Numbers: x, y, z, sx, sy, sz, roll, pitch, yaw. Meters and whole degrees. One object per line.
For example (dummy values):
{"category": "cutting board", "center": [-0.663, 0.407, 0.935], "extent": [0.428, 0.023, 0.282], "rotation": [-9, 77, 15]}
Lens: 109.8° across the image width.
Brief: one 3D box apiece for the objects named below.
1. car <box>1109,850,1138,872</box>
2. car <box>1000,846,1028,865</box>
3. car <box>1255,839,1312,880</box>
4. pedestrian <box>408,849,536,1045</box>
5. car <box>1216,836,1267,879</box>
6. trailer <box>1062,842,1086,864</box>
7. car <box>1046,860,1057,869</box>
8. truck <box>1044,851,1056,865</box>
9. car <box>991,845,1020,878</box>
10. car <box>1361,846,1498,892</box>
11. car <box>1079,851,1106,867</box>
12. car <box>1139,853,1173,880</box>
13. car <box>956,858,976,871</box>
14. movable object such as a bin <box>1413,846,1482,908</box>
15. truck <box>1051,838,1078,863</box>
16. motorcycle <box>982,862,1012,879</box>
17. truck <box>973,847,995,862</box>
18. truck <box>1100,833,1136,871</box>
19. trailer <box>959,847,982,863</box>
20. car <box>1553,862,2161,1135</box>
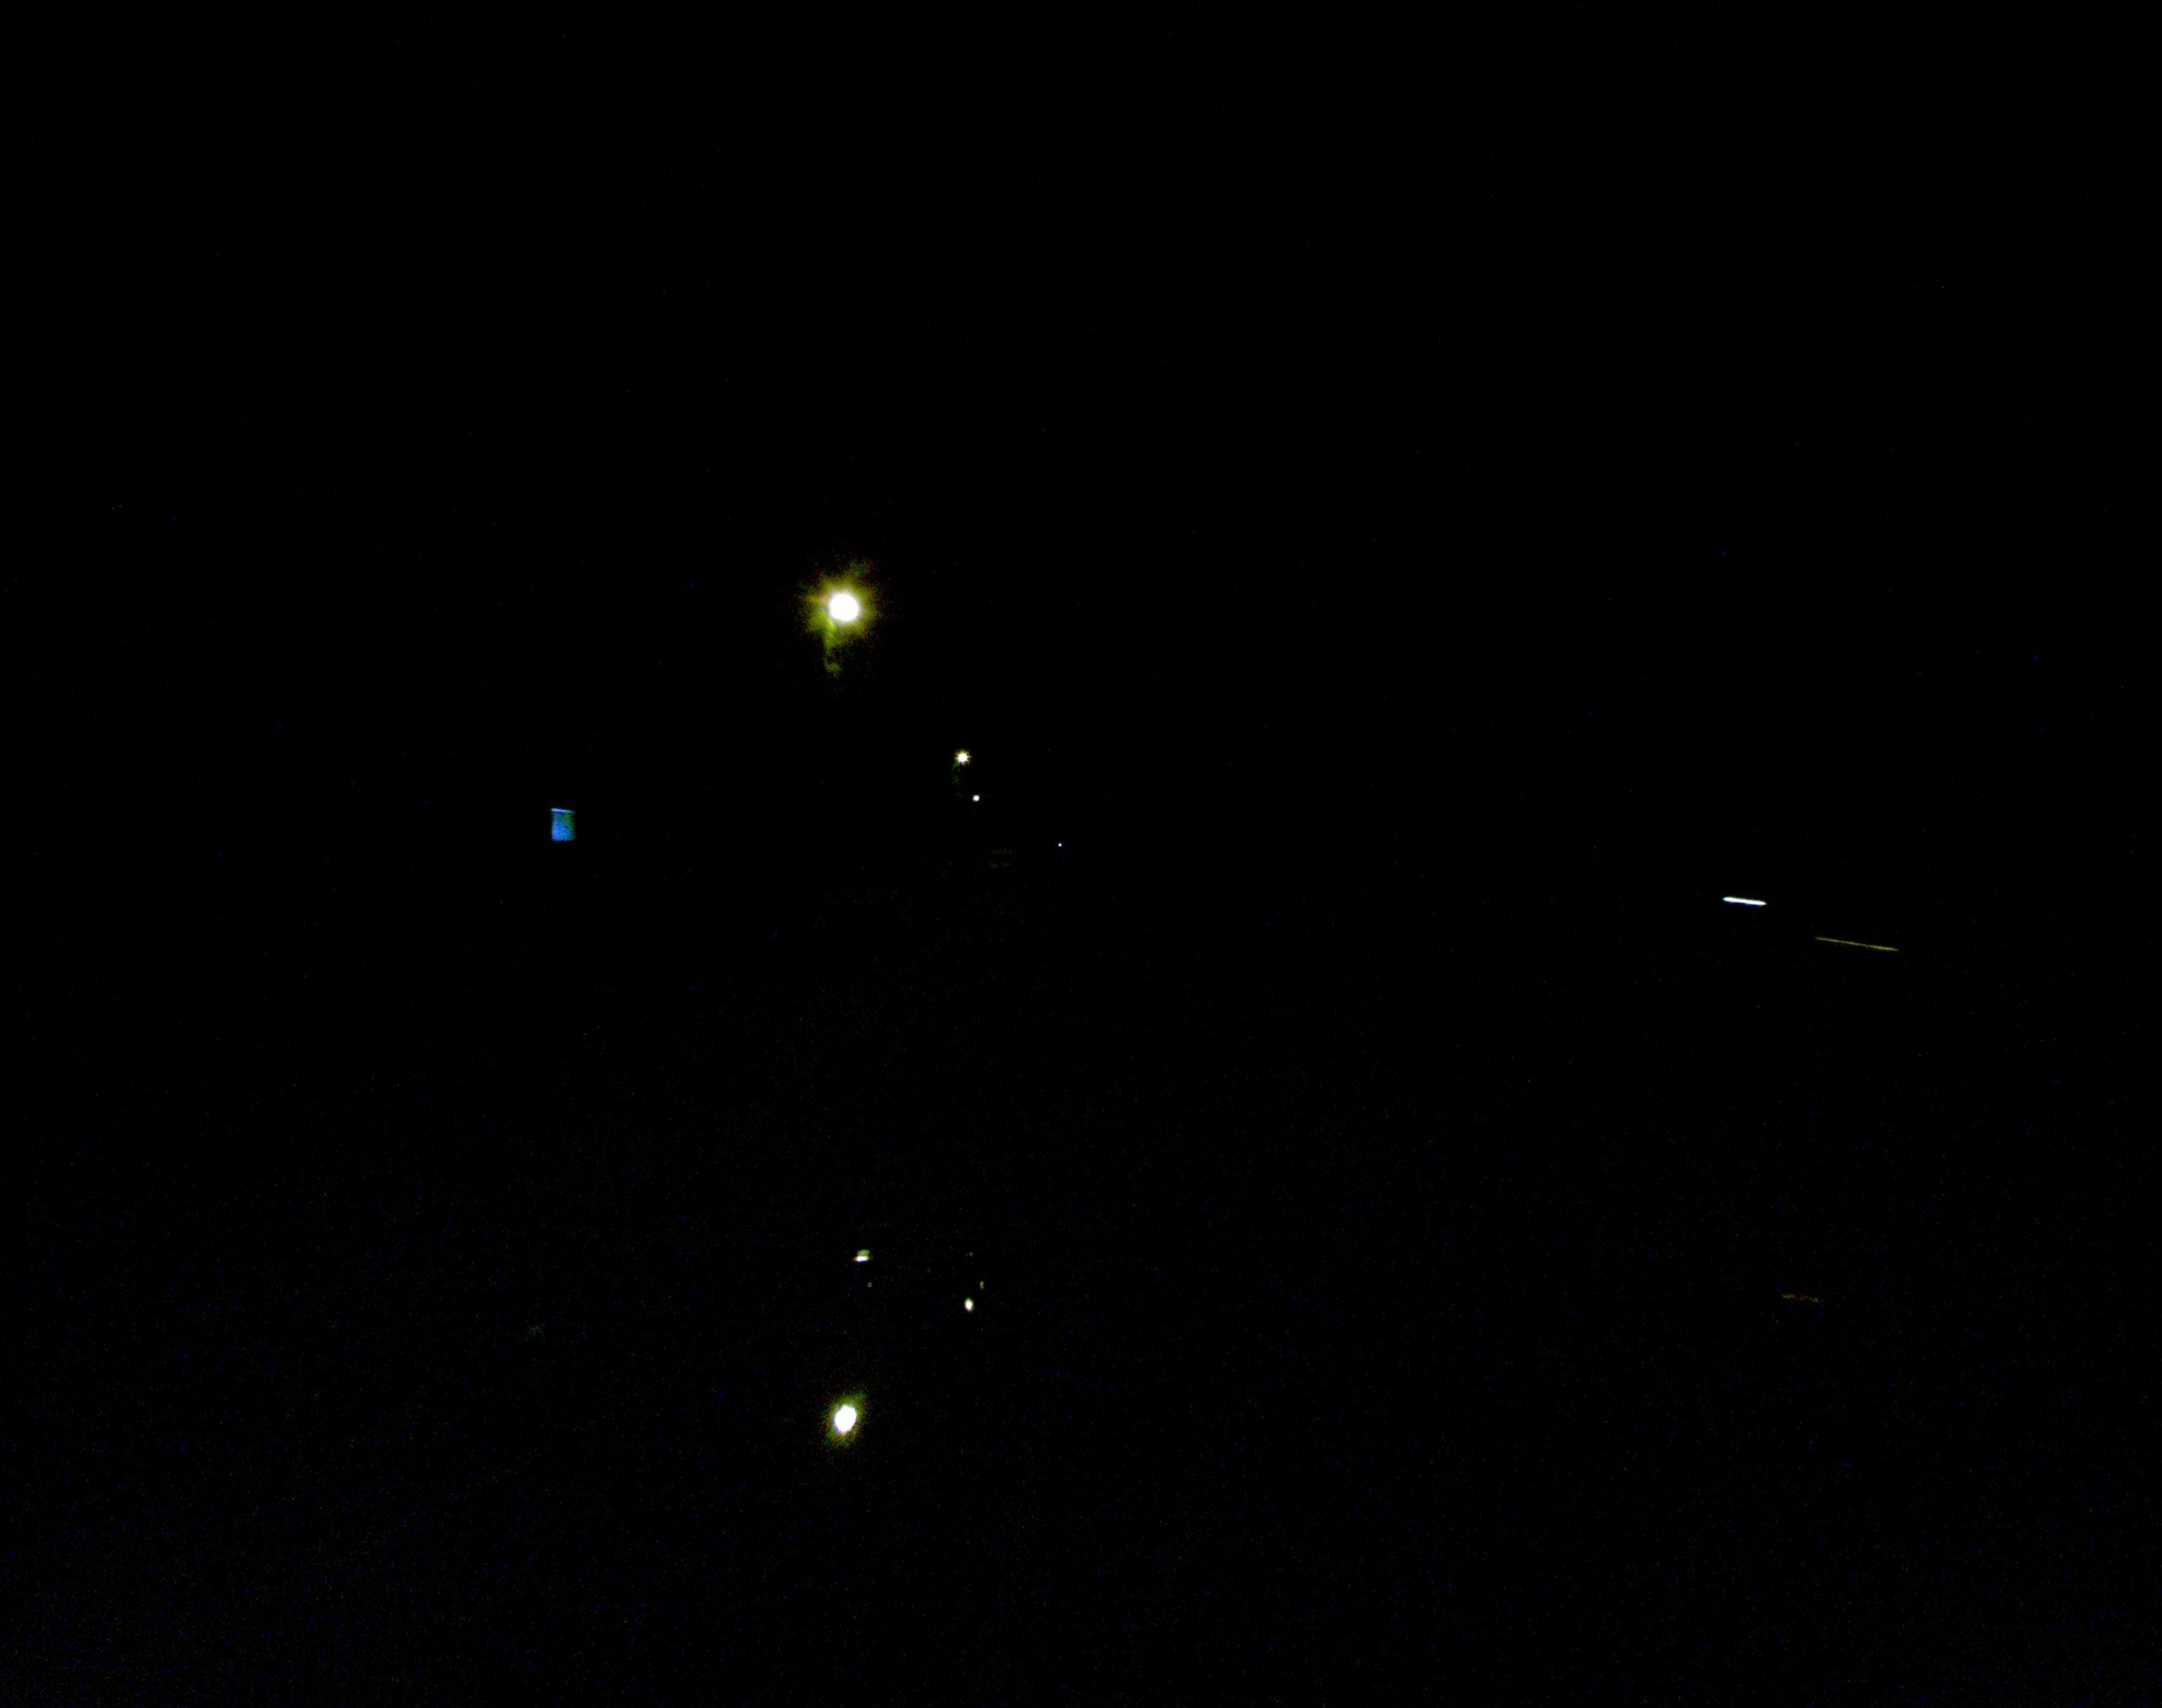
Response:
{"category": "car", "center": [3.571, 0.567, 64.460], "extent": [1.834, 1.806, 4.836], "rotation": [-1, 0, -4]}
{"category": "car", "center": [-11.948, 0.333, 134.518], "extent": [2.393, 3.224, 7.216], "rotation": [-1, 0, -26]}
{"category": "car", "center": [11.850, 0.305, 44.738], "extent": [2.213, 2.308, 4.624], "rotation": [-1, 0, 2]}
{"category": "pedestrian", "center": [-6.048, 0.876, 7.594], "extent": [0.572, 1.842, 0.820], "rotation": [-1, 1, -2]}
{"category": "car", "center": [9.209, 0.185, 44.021], "extent": [1.998, 2.308, 4.967], "rotation": [1, 0, 2]}
{"category": "trailer", "center": [-0.938, -0.082, 98.733], "extent": [2.213, 2.779, 4.611], "rotation": [-1, 0, -13]}
{"category": "car", "center": [-5.591, 1.915, 142.535], "extent": [1.863, 1.630, 3.998], "rotation": [0, 0, -5]}
{"category": "truck", "center": [-6.297, 0.809, 152.839], "extent": [2.138, 2.597, 7.097], "rotation": [0, 0, -4]}
{"category": "car", "center": [-6.157, 0.596, 62.642], "extent": [2.026, 2.512, 6.049], "rotation": [-2, 0, -3]}
{"category": "car", "center": [12.268, 0.515, 26.903], "extent": [3.998, 1.562, 1.817], "rotation": [0, 0, -3]}
{"category": "car", "center": [1.289, 0.571, 87.452], "extent": [2.001, 1.761, 4.687], "rotation": [-1, 0, -13]}
{"category": "car", "center": [4.473, 0.706, 45.960], "extent": [1.759, 1.517, 4.323], "rotation": [-1, 0, 2]}
{"category": "car", "center": [-19.256, 1.793, 127.210], "extent": [2.002, 2.002, 5.345], "rotation": [-3, 0, -21]}
{"category": "movable object such as a bin", "center": [9.264, 0.566, 19.244], "extent": [1.168, 1.487, 1.065], "rotation": [-1, 0, -5]}
{"category": "truck", "center": [-2.377, -0.454, 105.298], "extent": [2.381, 3.224, 7.224], "rotation": [-1, 0, -12]}
{"category": "motorcycle", "center": [-6.422, 1.270, 58.279], "extent": [2.180, 1.177, 0.770], "rotation": [-2, 1, 29]}
{"category": "truck", "center": [-18.784, 0.125, 146.989], "extent": [2.003, 2.768, 7.228], "rotation": [-1, 0, -26]}
{"category": "truck", "center": [3.380, -0.180, 71.333], "extent": [2.551, 3.261, 7.309], "rotation": [-1, 0, -4]}
{"category": "trailer", "center": [-22.511, 0.269, 154.794], "extent": [2.493, 3.055, 7.938], "rotation": [-1, 0, -24]}
{"category": "car", "center": [6.257, 0.804, 6.289], "extent": [1.916, 1.395, 4.337], "rotation": [-1, 0, -2]}
